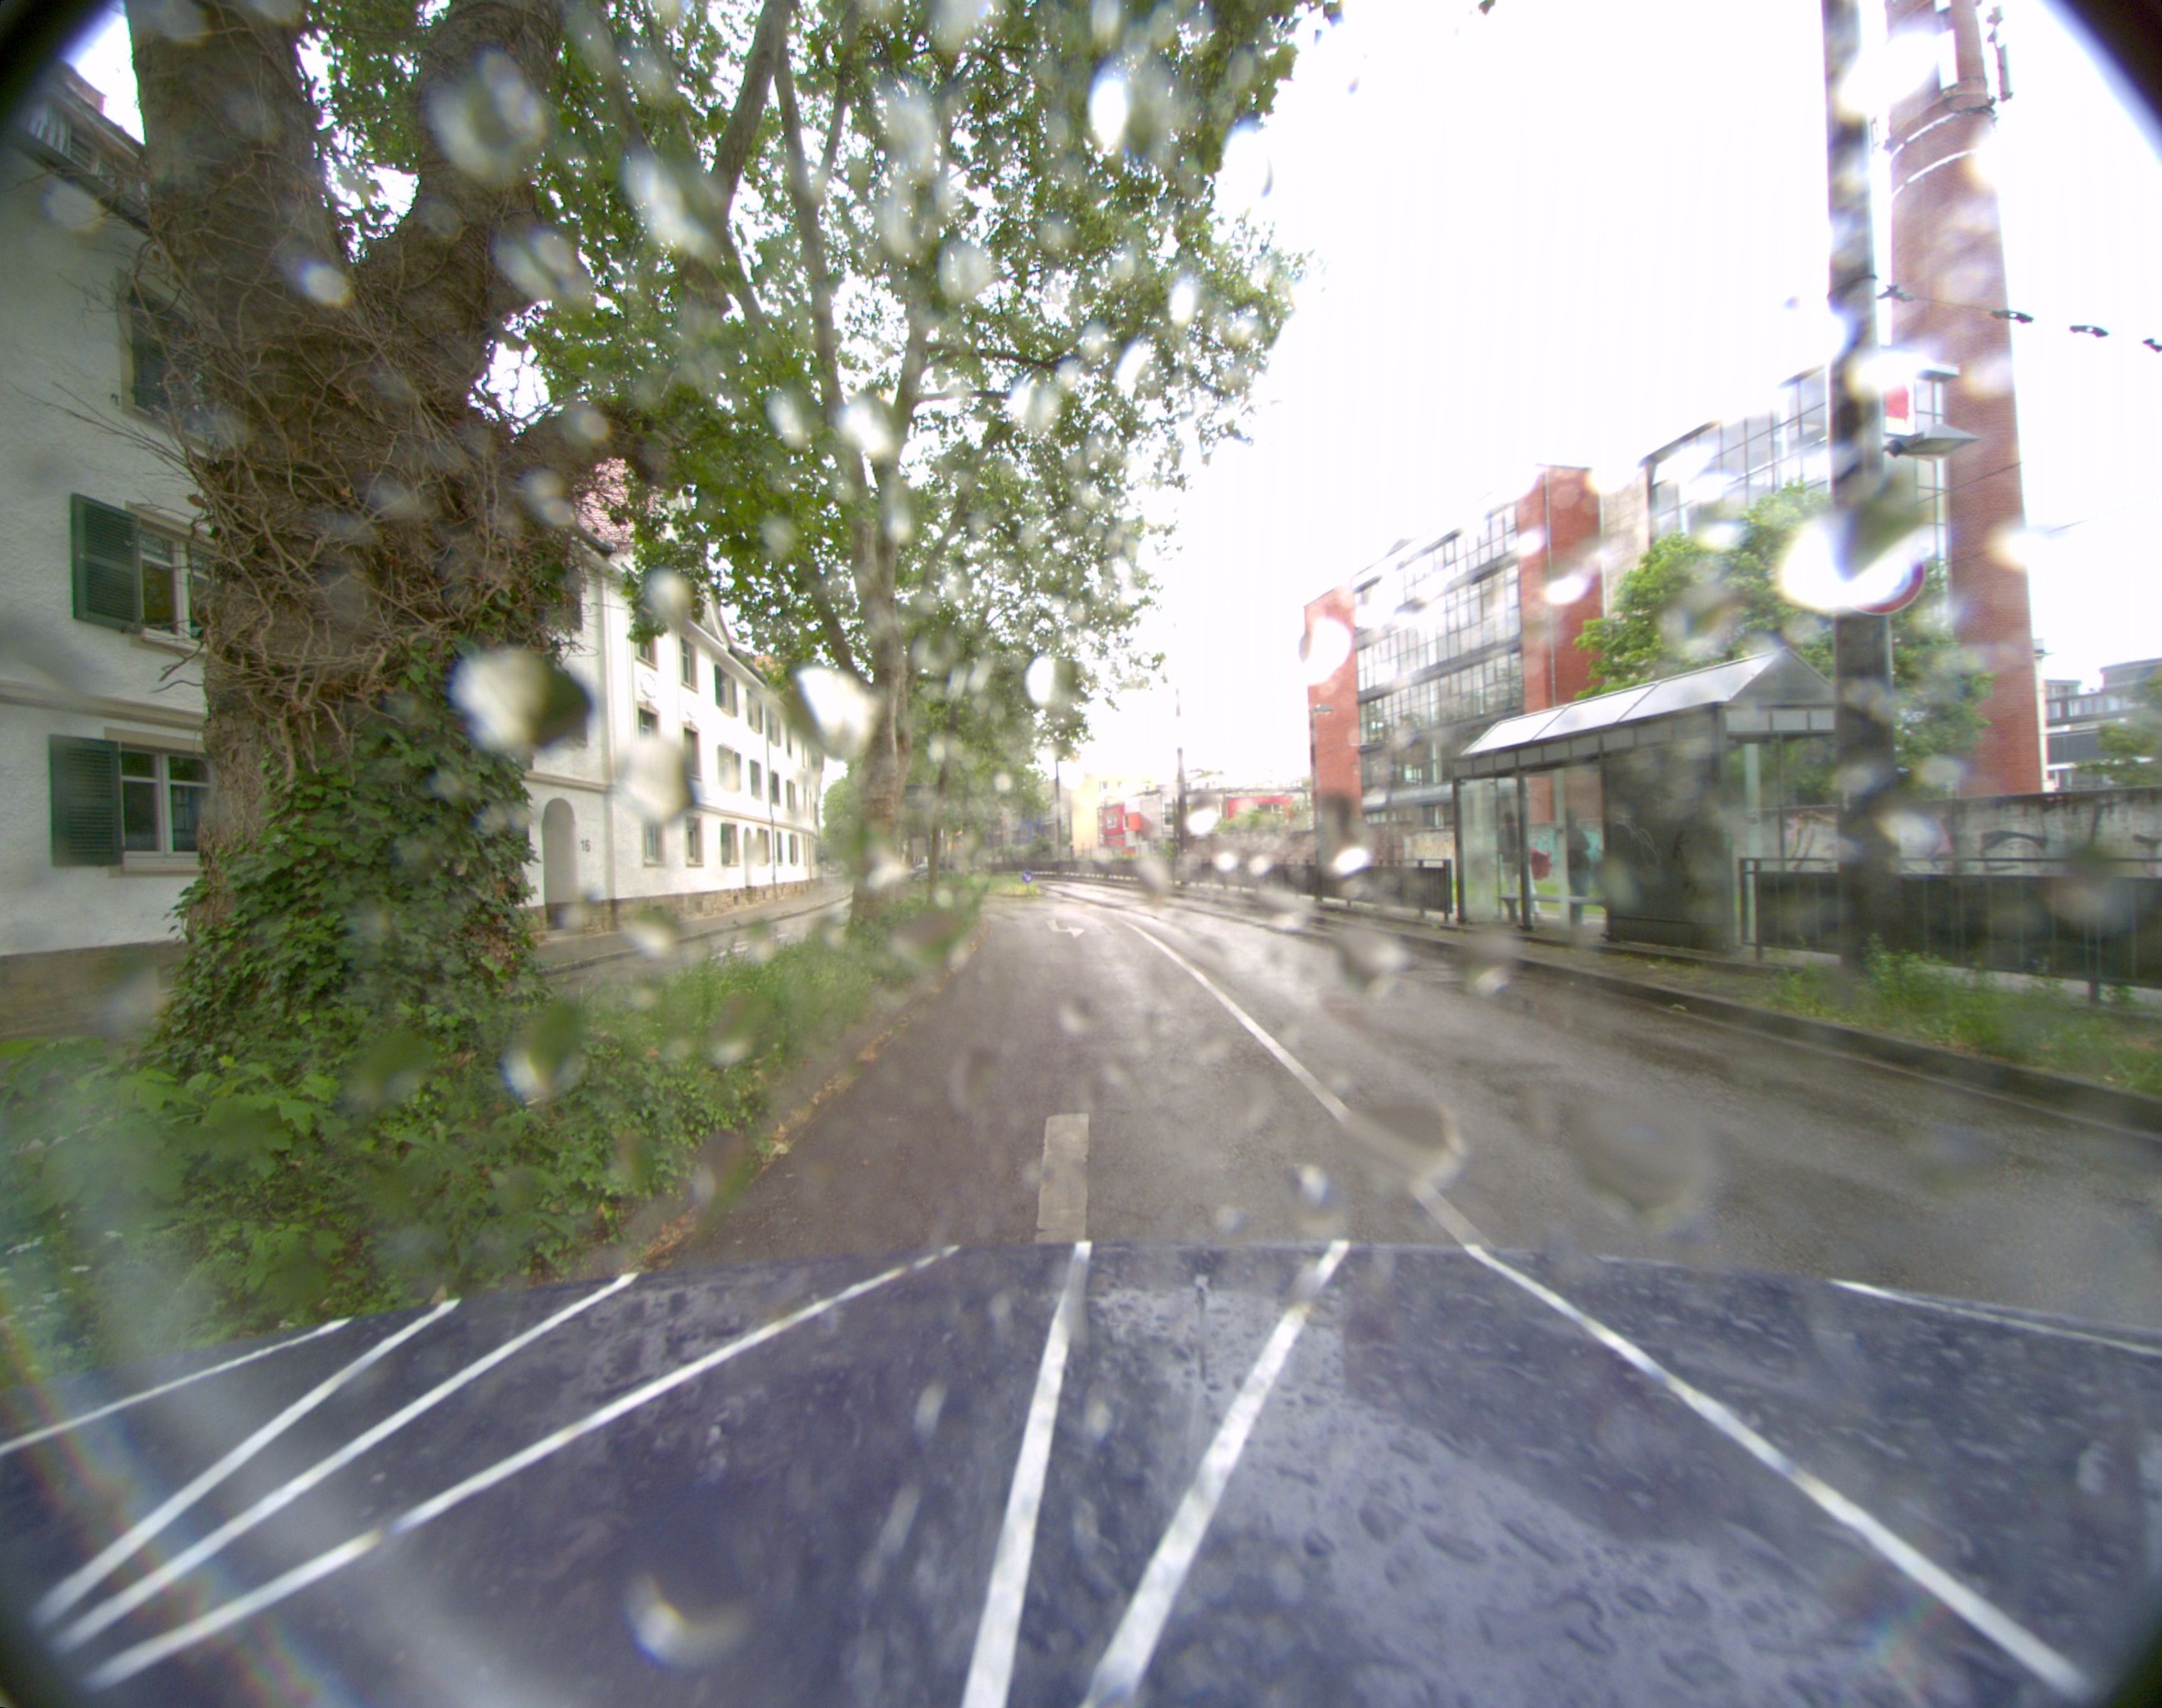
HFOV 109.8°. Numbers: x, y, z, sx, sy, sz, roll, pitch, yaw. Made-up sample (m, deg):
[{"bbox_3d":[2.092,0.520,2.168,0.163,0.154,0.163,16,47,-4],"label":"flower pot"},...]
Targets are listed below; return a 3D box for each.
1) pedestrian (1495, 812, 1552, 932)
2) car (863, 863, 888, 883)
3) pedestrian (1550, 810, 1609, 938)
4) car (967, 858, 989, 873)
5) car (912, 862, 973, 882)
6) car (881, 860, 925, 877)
[{"bbox_3d":[6.576,0.254,11.296,0.584,1.721,0.566,-1,1,-41],"label":"pedestrian"},{"bbox_3d":[-17.591,1.593,64.968,1.853,1.586,4.210,-2,0,-17],"label":"car"},{"bbox_3d":[6.935,0.266,10.567,0.584,1.721,0.566,-1,1,-43],"label":"pedestrian"},{"bbox_3d":[-11.798,1.304,86.970,1.694,1.713,3.685,-1,0,-20],"label":"car"},{"bbox_3d":[-10.680,1.389,58.850,4.224,1.532,1.932,-1,0,11],"label":"car"},{"bbox_3d":[-22.208,1.833,94.708,4.884,2.002,2.002,-1,0,11],"label":"car"}]
